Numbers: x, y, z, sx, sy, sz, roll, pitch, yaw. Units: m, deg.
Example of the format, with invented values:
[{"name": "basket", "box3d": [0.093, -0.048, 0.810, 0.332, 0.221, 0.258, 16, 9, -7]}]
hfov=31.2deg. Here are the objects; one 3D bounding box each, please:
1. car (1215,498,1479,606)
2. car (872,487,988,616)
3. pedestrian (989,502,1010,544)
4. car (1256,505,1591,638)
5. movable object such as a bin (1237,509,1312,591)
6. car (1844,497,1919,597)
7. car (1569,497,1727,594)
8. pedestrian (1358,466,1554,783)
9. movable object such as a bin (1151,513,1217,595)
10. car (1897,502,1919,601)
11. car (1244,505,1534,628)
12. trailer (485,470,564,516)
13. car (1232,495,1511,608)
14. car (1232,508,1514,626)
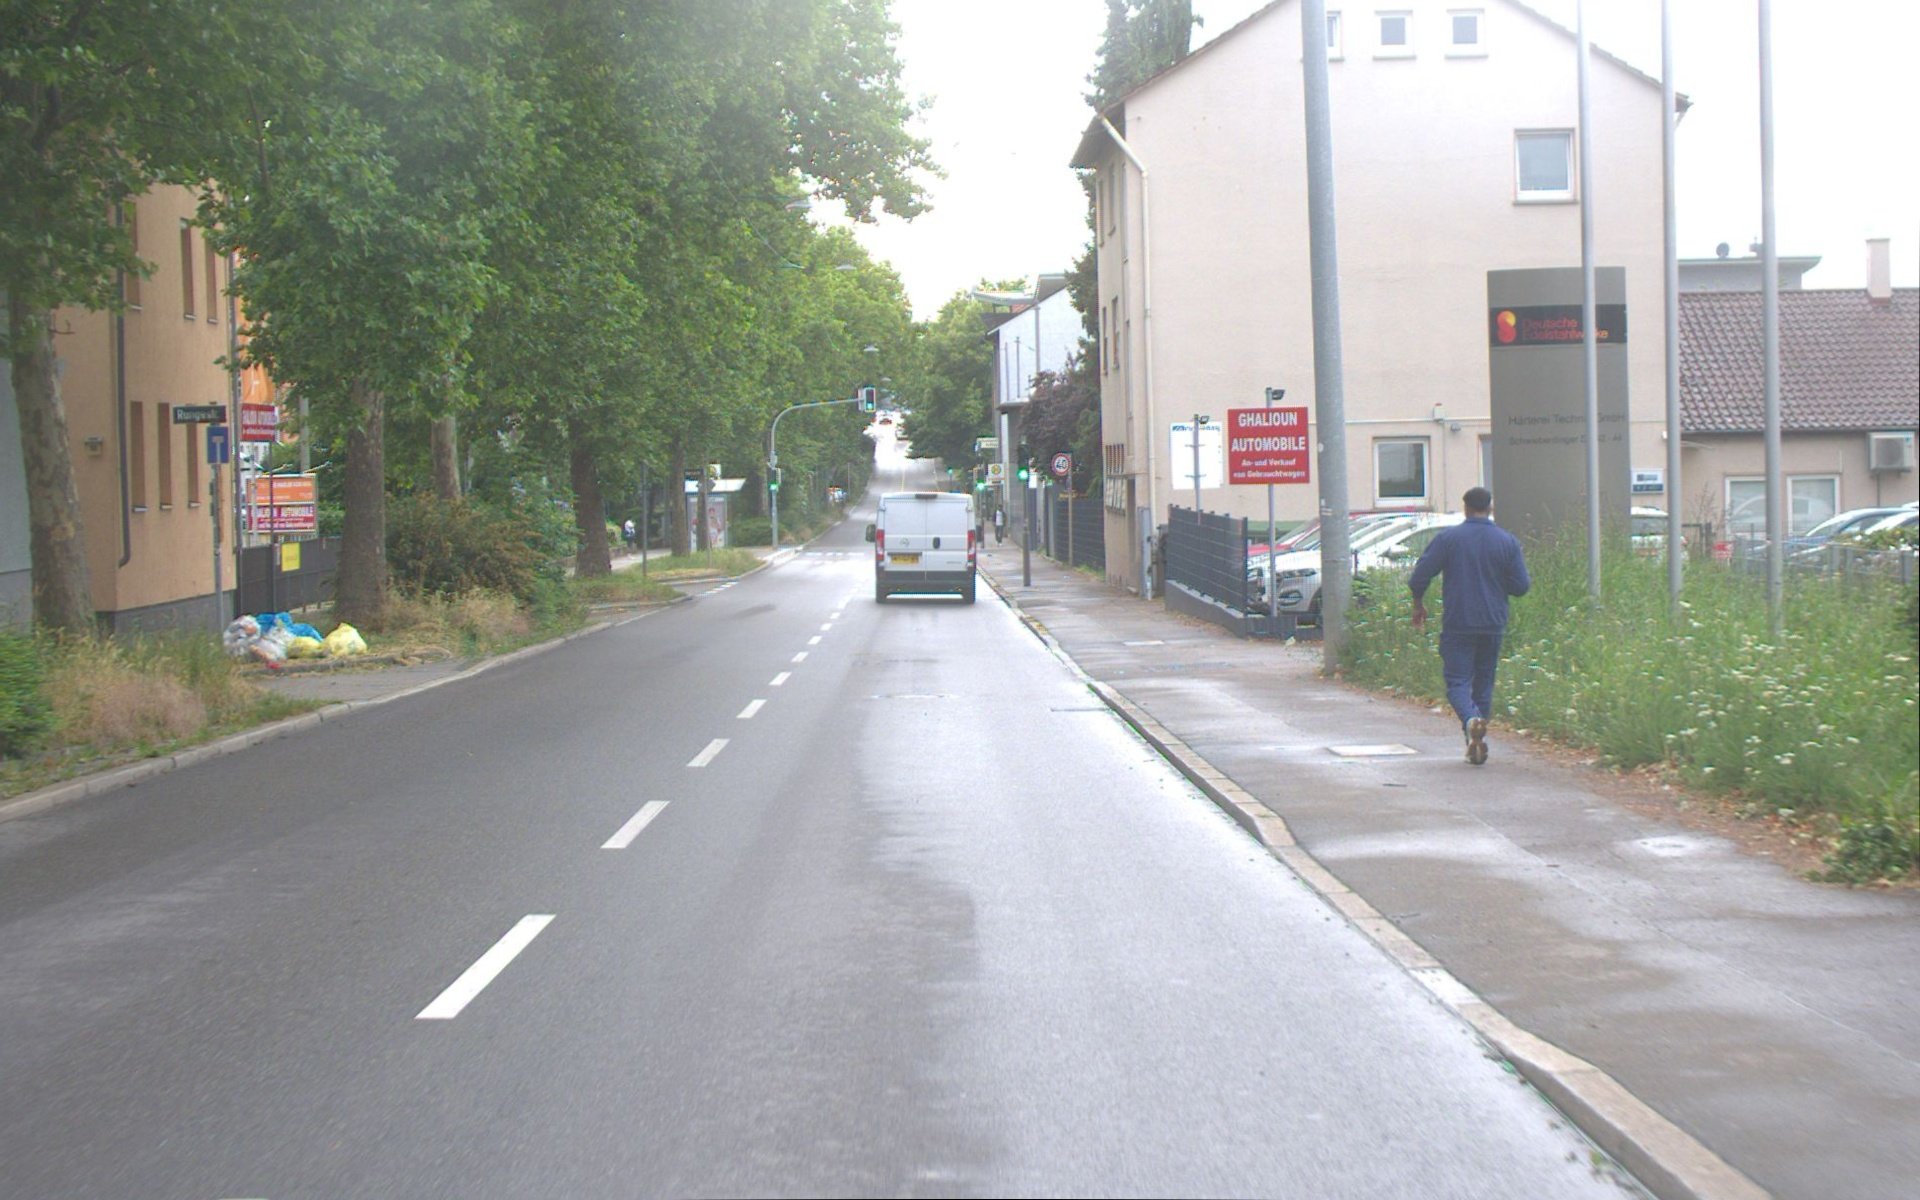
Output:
[{"name": "car", "box3d": [6.506, -0.804, 58.113, 4.228, 1.730, 1.870, 1, 0, -1]}, {"name": "car", "box3d": [-0.603, -0.971, 70.417, 2.282, 2.544, 4.000, 0, 0, 0]}, {"name": "pedestrian", "box3d": [1.625, -3.160, 140.952, 0.742, 1.698, 0.902, 1, 1, -6]}, {"name": "car", "box3d": [6.313, -0.393, 47.166, 4.302, 1.762, 2.000, 0, 0, -1]}, {"name": "movable object such as a bin", "box3d": [6.036, -0.958, 66.027, 1.234, 1.504, 1.111, -3, 0, -1]}, {"name": "car", "box3d": [16.624, -0.830, 55.726, 4.084, 1.595, 1.795, 1, 0, -2]}, {"name": "car", "box3d": [11.365, -0.888, 57.007, 1.808, 1.525, 3.628, 1, 0, -1]}, {"name": "pedestrian", "box3d": [3.035, 0.143, 21.136, 1.043, 1.891, 0.901, -1, 0, 0]}, {"name": "movable object such as a bin", "box3d": [4.309, -0.876, 66.093, 1.110, 1.504, 0.987, -3, 0, -1]}, {"name": "car", "box3d": [16.618, -0.731, 53.080, 3.763, 1.527, 1.759, 1, 1, -4]}, {"name": "car", "box3d": [6.203, -0.491, 49.989, 3.948, 1.718, 1.791, 1, 1, -1]}, {"name": "trailer", "box3d": [-16.028, -3.933, 126.652, 2.704, 1.639, 1.480, 0, 1, 0]}, {"name": "car", "box3d": [6.574, -0.769, 55.211, 4.228, 1.730, 1.870, 1, 0, -1]}, {"name": "car", "box3d": [6.288, -0.507, 52.657, 4.066, 1.730, 1.870, 1, 0, -1]}]
